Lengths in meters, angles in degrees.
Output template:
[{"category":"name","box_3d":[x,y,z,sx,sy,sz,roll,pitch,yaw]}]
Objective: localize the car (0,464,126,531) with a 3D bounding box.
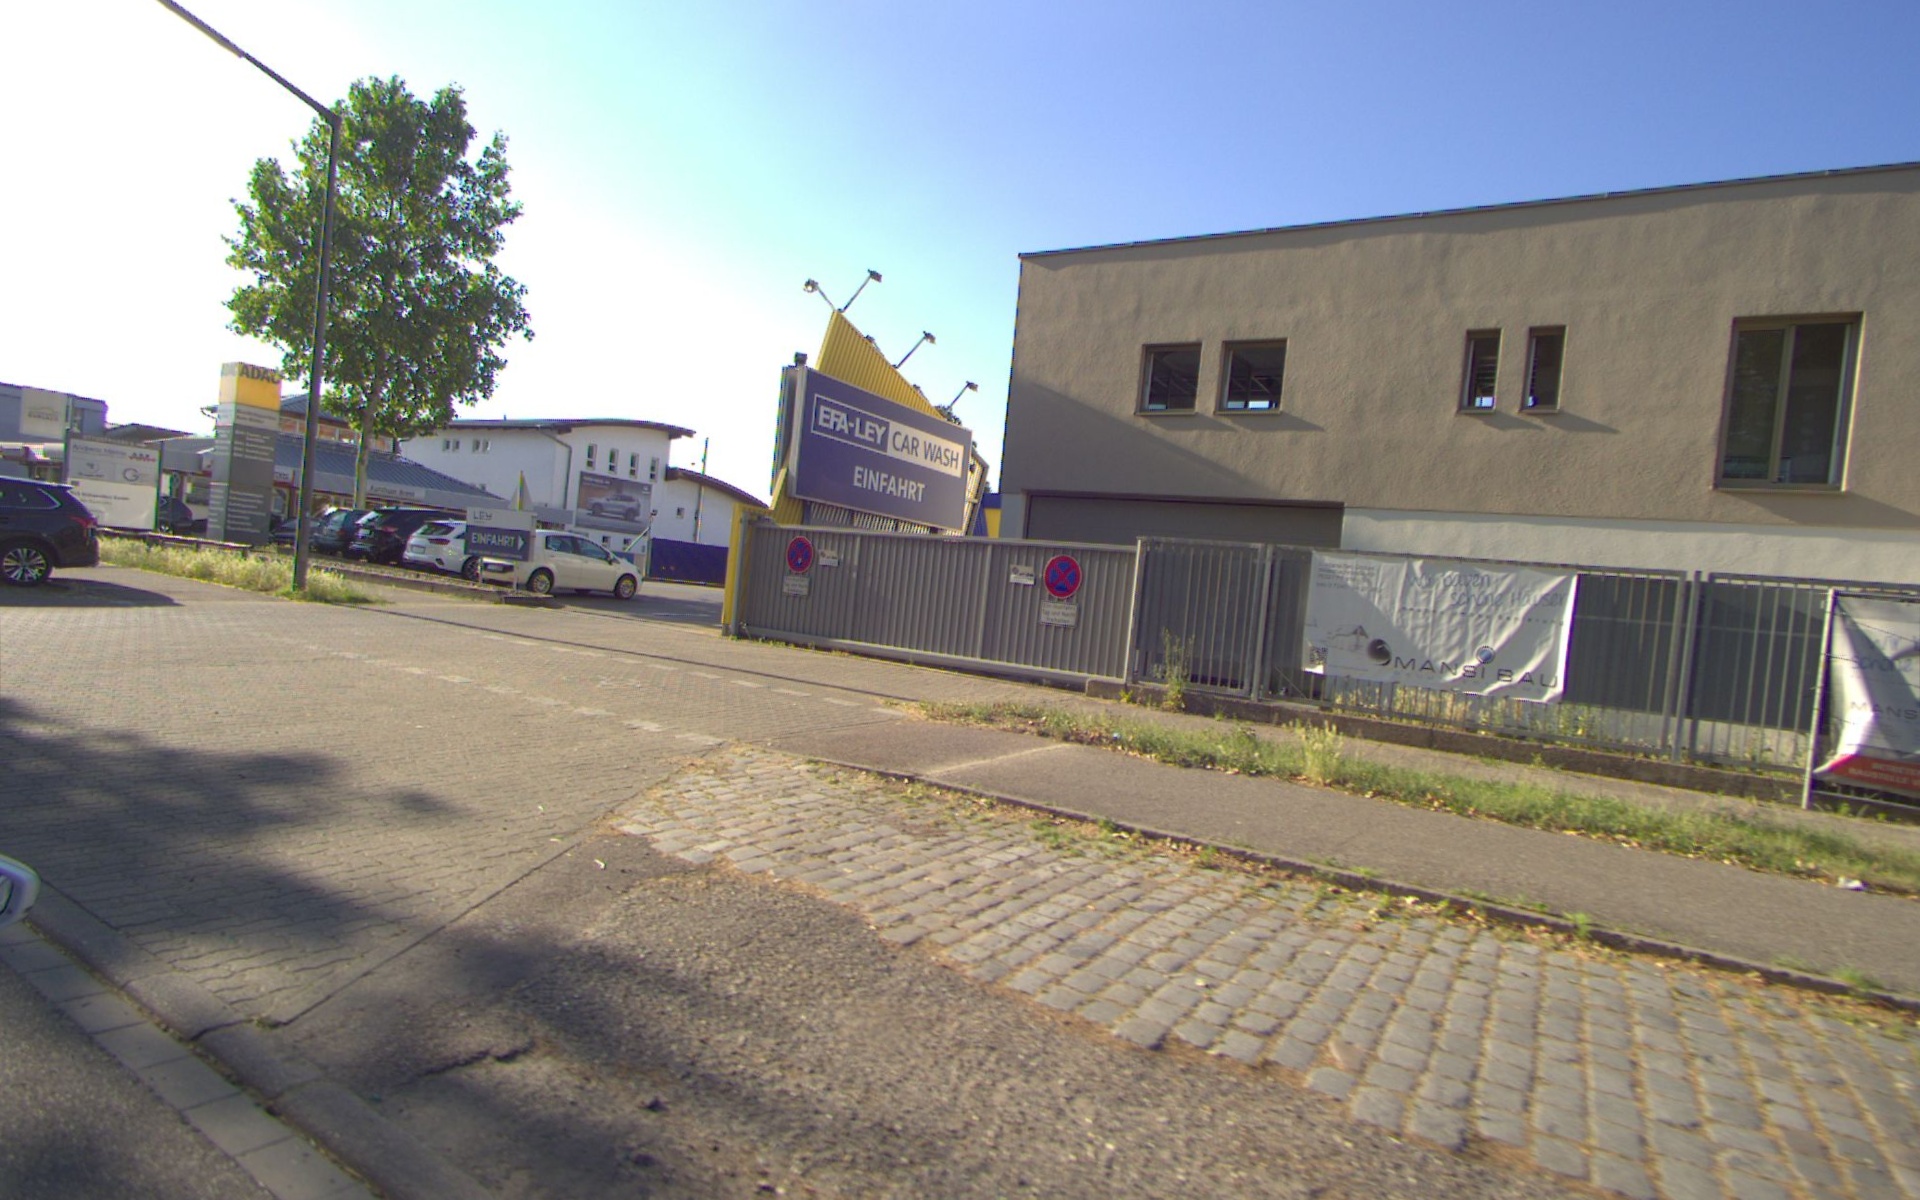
[{"category":"car","box_3d":[-34.695,-3.937,38.292,2.165,1.922,3.939,9,1,31]}]

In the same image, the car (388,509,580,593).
[{"category":"car","box_3d":[-12.119,-1.217,25.868,1.919,1.536,3.997,6,-2,28]}]

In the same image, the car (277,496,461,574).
[{"category":"car","box_3d":[-16.687,-1.795,28.609,1.965,1.536,3.997,6,-2,28]}]

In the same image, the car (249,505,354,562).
[{"category":"car","box_3d":[-26.892,-2.671,41.260,1.966,1.758,3.997,7,-2,-8]}]

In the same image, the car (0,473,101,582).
[{"category":"car","box_3d":[-15.944,-1.202,14.858,1.968,1.601,4.597,5,2,34]}]

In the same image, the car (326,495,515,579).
[{"category":"car","box_3d":[-14.509,-1.664,27.292,1.965,1.614,3.997,6,-2,28]}]

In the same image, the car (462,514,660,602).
[{"category":"car","box_3d":[-9.395,-0.945,24.013,1.965,1.514,3.997,6,-2,28]}]

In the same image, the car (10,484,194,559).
[{"category":"car","box_3d":[-30.841,-2.782,36.296,2.166,1.920,4.503,5,-2,31]}]
